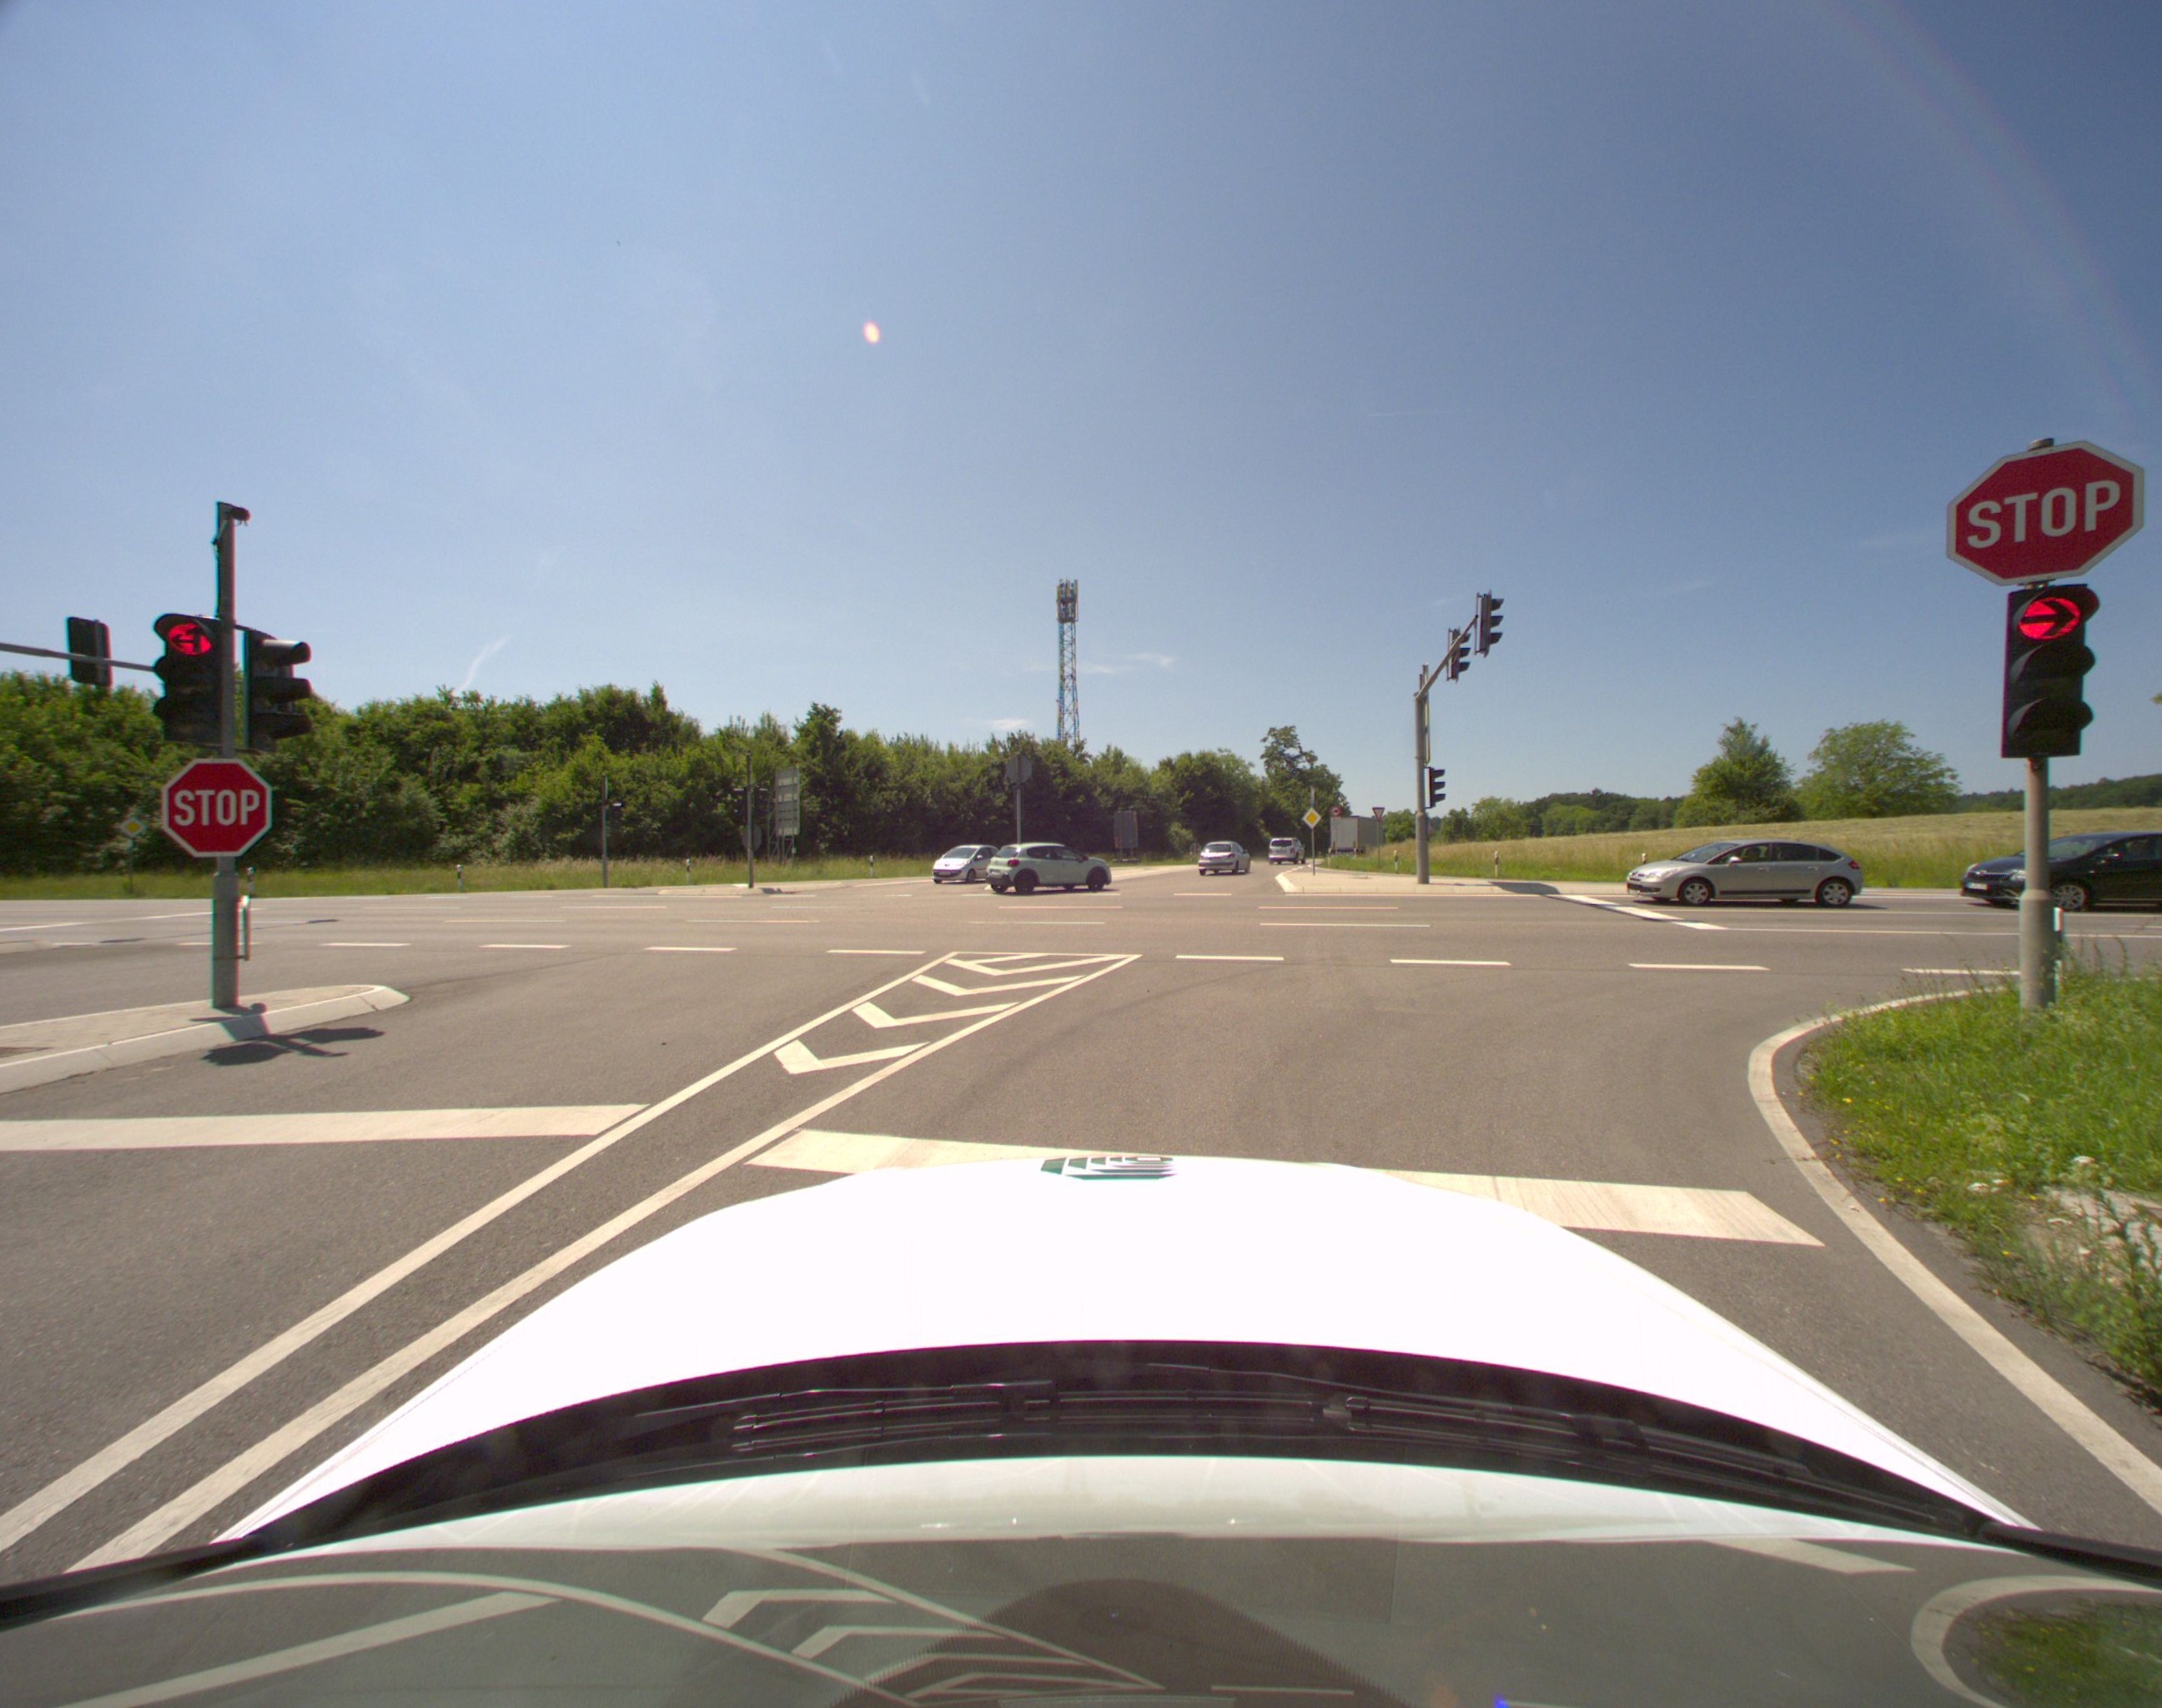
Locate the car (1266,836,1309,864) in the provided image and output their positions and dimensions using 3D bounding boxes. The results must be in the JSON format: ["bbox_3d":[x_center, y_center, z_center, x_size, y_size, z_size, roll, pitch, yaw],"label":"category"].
[{"bbox_3d":[13.083,-0.288,51.493,1.796,1.624,4.084,-1,1,26],"label":"car"}]

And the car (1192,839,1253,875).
[{"bbox_3d":[6.275,0.091,35.813,1.797,1.413,3.804,-1,2,22],"label":"car"}]

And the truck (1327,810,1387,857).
[{"bbox_3d":[27.561,-1.924,80.500,3.096,4.172,16.787,-1,0,27],"label":"truck"}]

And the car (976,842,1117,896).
[{"bbox_3d":[-1.012,0.391,24.901,4.002,1.404,1.717,-3,3,-34],"label":"car"}]

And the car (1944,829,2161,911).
[{"bbox_3d":[21.029,0.291,16.658,4.335,1.553,1.737,0,2,16],"label":"car"}]

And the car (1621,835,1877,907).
[{"bbox_3d":[14.843,0.345,18.342,4.128,1.469,1.736,0,2,13],"label":"car"}]

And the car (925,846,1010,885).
[{"bbox_3d":[-4.361,0.398,31.726,1.551,1.370,3.552,0,1,25],"label":"car"}]
